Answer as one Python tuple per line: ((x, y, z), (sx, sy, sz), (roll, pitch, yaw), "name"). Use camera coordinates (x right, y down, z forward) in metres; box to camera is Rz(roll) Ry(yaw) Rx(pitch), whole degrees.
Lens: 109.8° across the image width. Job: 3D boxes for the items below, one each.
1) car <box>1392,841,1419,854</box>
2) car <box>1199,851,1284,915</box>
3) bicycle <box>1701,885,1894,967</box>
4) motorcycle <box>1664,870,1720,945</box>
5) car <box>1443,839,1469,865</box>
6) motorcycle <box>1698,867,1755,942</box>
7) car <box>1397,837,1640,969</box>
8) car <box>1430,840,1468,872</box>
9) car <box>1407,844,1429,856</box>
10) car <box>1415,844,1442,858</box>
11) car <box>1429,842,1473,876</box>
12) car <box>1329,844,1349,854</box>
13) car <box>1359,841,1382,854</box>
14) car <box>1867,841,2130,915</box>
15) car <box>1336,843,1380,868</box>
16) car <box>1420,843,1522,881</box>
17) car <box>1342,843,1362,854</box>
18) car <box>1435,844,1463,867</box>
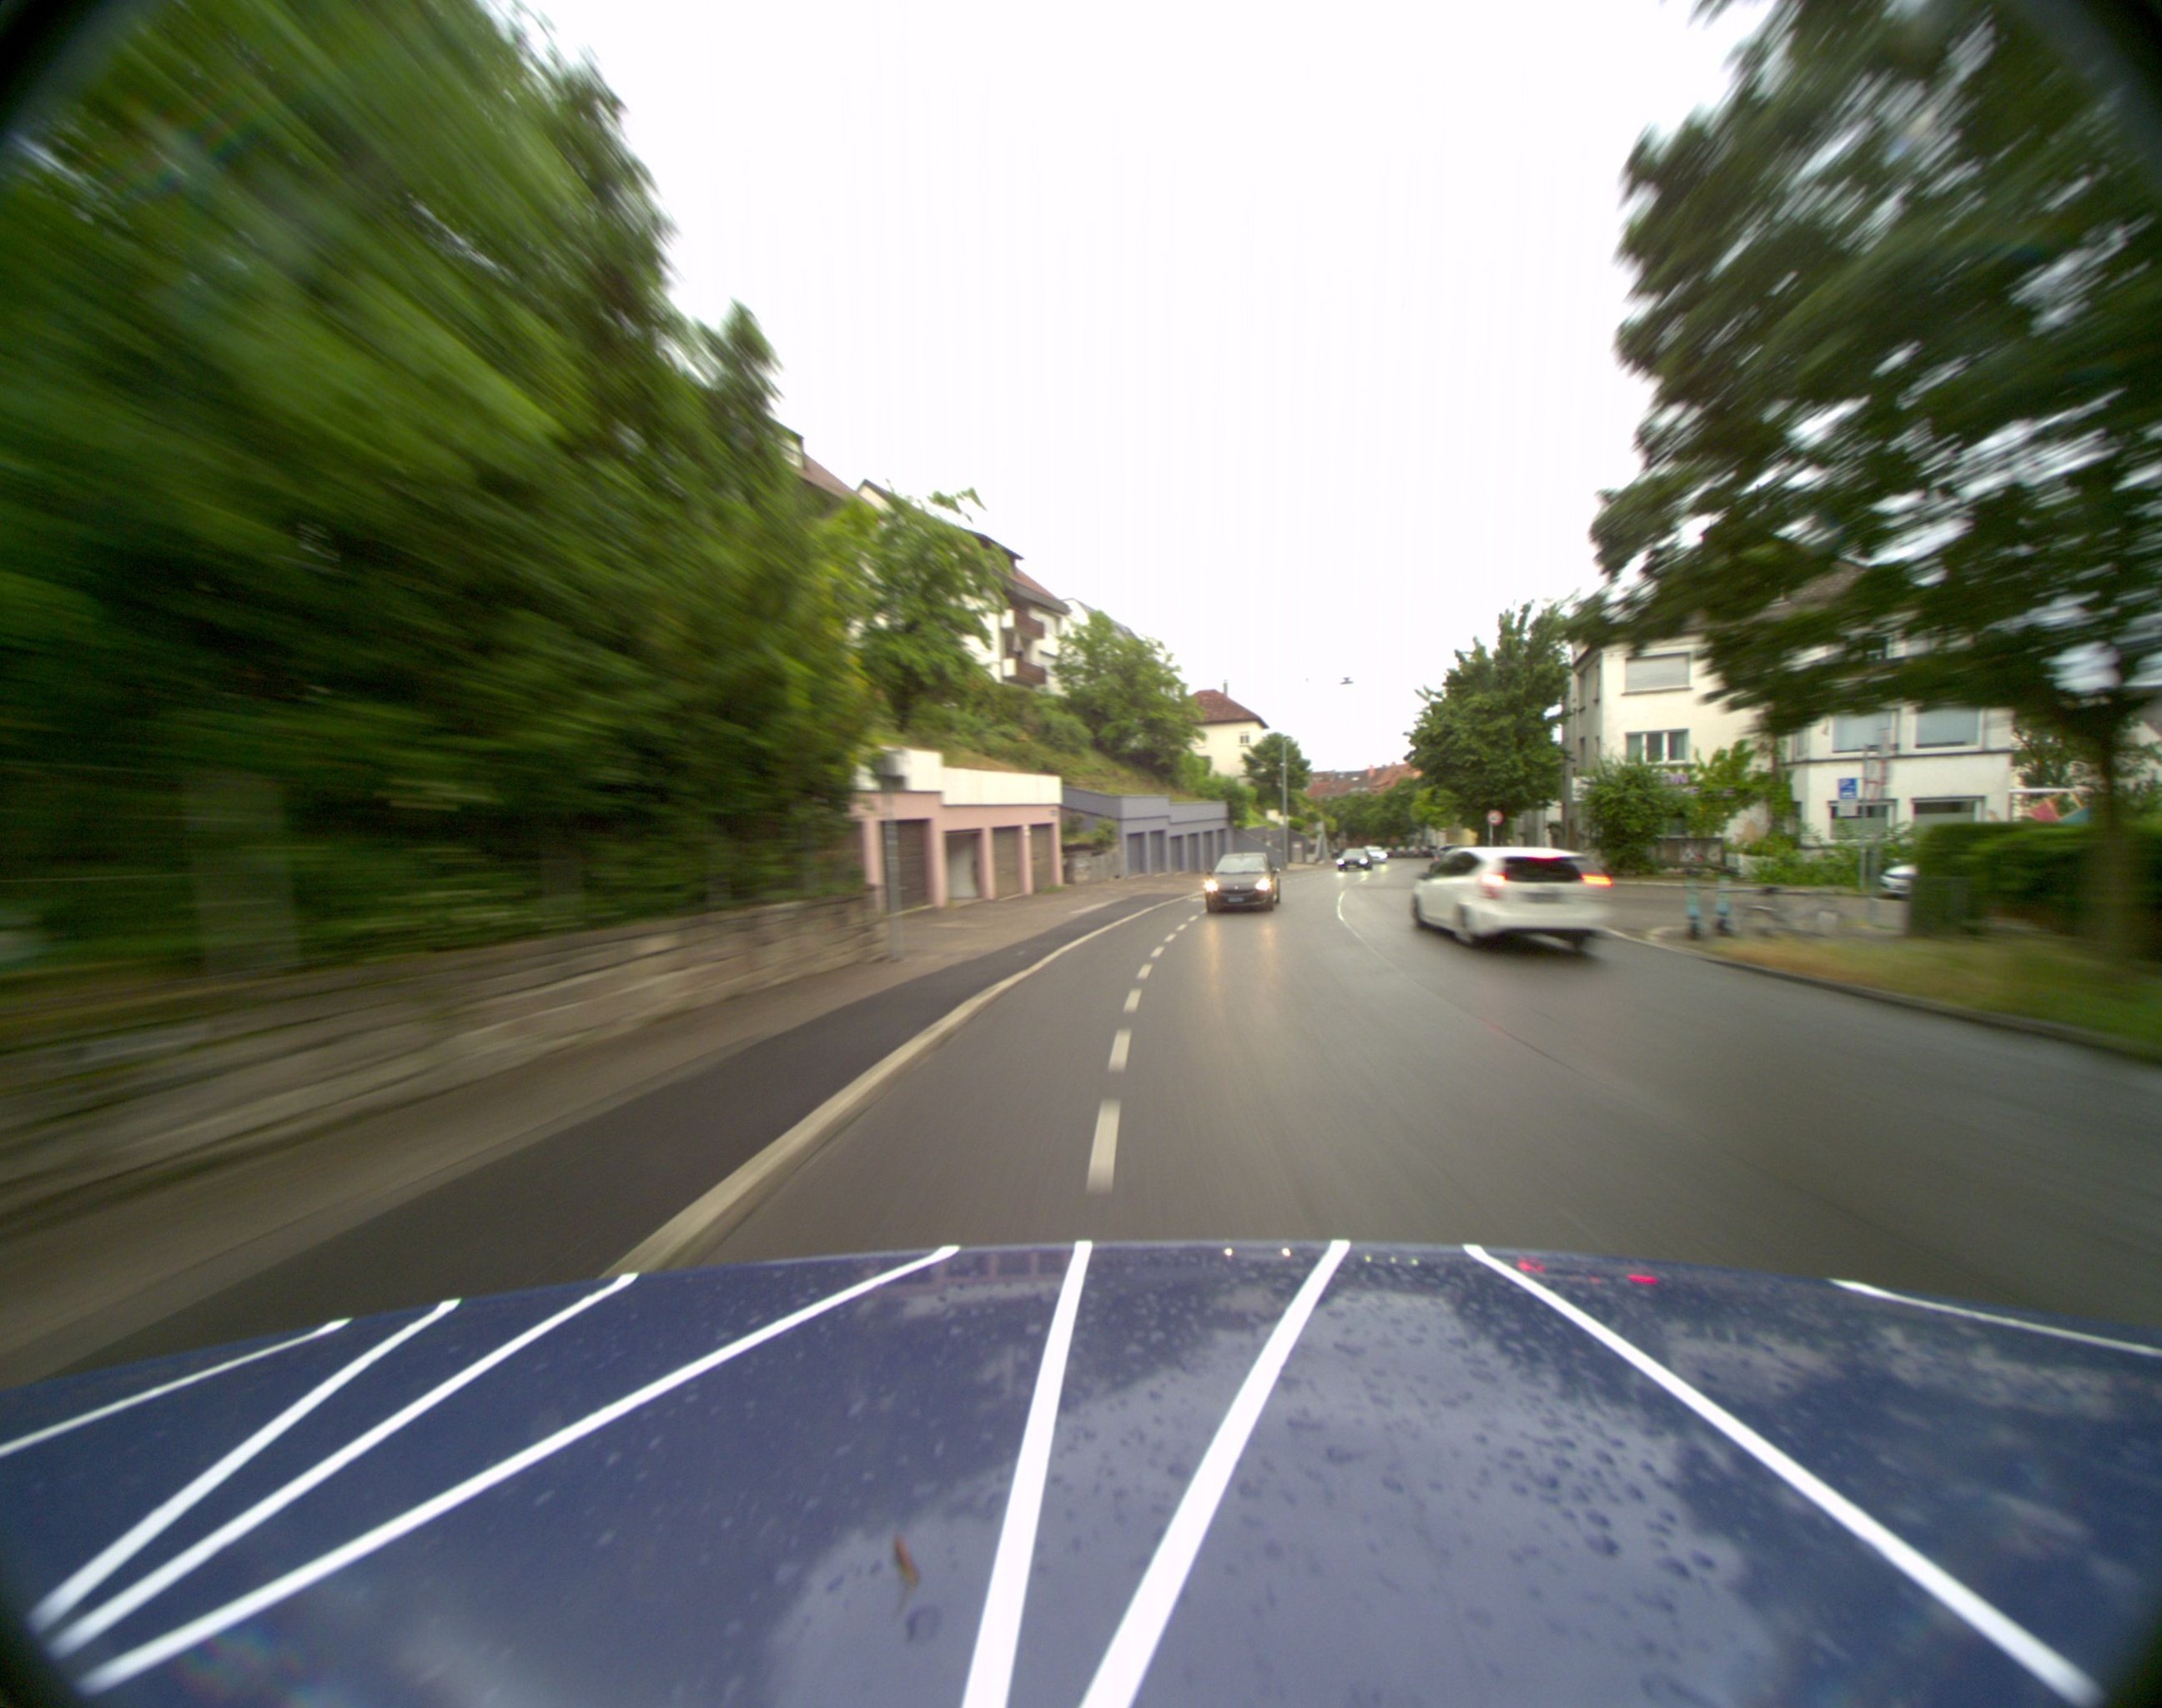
((41.712, -0.827, 97.703), (1.858, 1.680, 4.557), (-2, 0, 6), "car")
((4.340, 0.695, 20.121), (1.695, 1.456, 4.005), (-2, 0, 19), "car")
((10.060, 0.997, 10.717), (1.967, 1.054, 0.754), (-1, 1, 2), "bicycle")
((10.716, 0.911, 13.367), (0.557, 1.196, 1.401), (-1, 1, 30), "motorcycle")
((33.110, -0.212, 67.134), (1.915, 1.990, 4.555), (-3, 1, 26), "car")
((11.478, 0.867, 13.540), (0.552, 1.221, 1.308), (-1, 1, 30), "motorcycle")
((6.981, 0.667, 12.819), (1.987, 1.778, 4.698), (1, 0, 9), "car")
((20.632, 0.091, 42.579), (1.806, 1.617, 4.146), (-2, 1, 26), "car")
((41.040, -0.460, 92.623), (1.616, 1.388, 4.326), (-3, 0, 12), "car")
((40.141, -0.392, 87.837), (1.778, 1.531, 4.520), (-3, 0, 12), "car")
((17.392, 0.226, 35.665), (1.714, 1.454, 3.888), (-3, -1, 27), "car")
((43.617, -0.790, 128.689), (1.792, 1.631, 4.480), (-3, 0, 0), "car")
((43.635, -0.975, 114.646), (1.858, 1.766, 4.484), (-3, 0, 4), "car")
((24.441, 0.546, 20.540), (4.091, 1.510, 2.003), (5, 6, 38), "car")
((18.181, 0.083, 49.816), (1.995, 1.502, 4.218), (-3, 0, 29), "car")
((15.847, 0.284, 31.145), (1.999, 1.383, 4.196), (-2, 1, 0), "car")
((43.962, -0.883, 123.334), (1.751, 1.680, 4.601), (-3, 0, 4), "car")
((27.807, 0.081, 57.459), (1.806, 1.445, 4.603), (-3, 1, 25), "car")
